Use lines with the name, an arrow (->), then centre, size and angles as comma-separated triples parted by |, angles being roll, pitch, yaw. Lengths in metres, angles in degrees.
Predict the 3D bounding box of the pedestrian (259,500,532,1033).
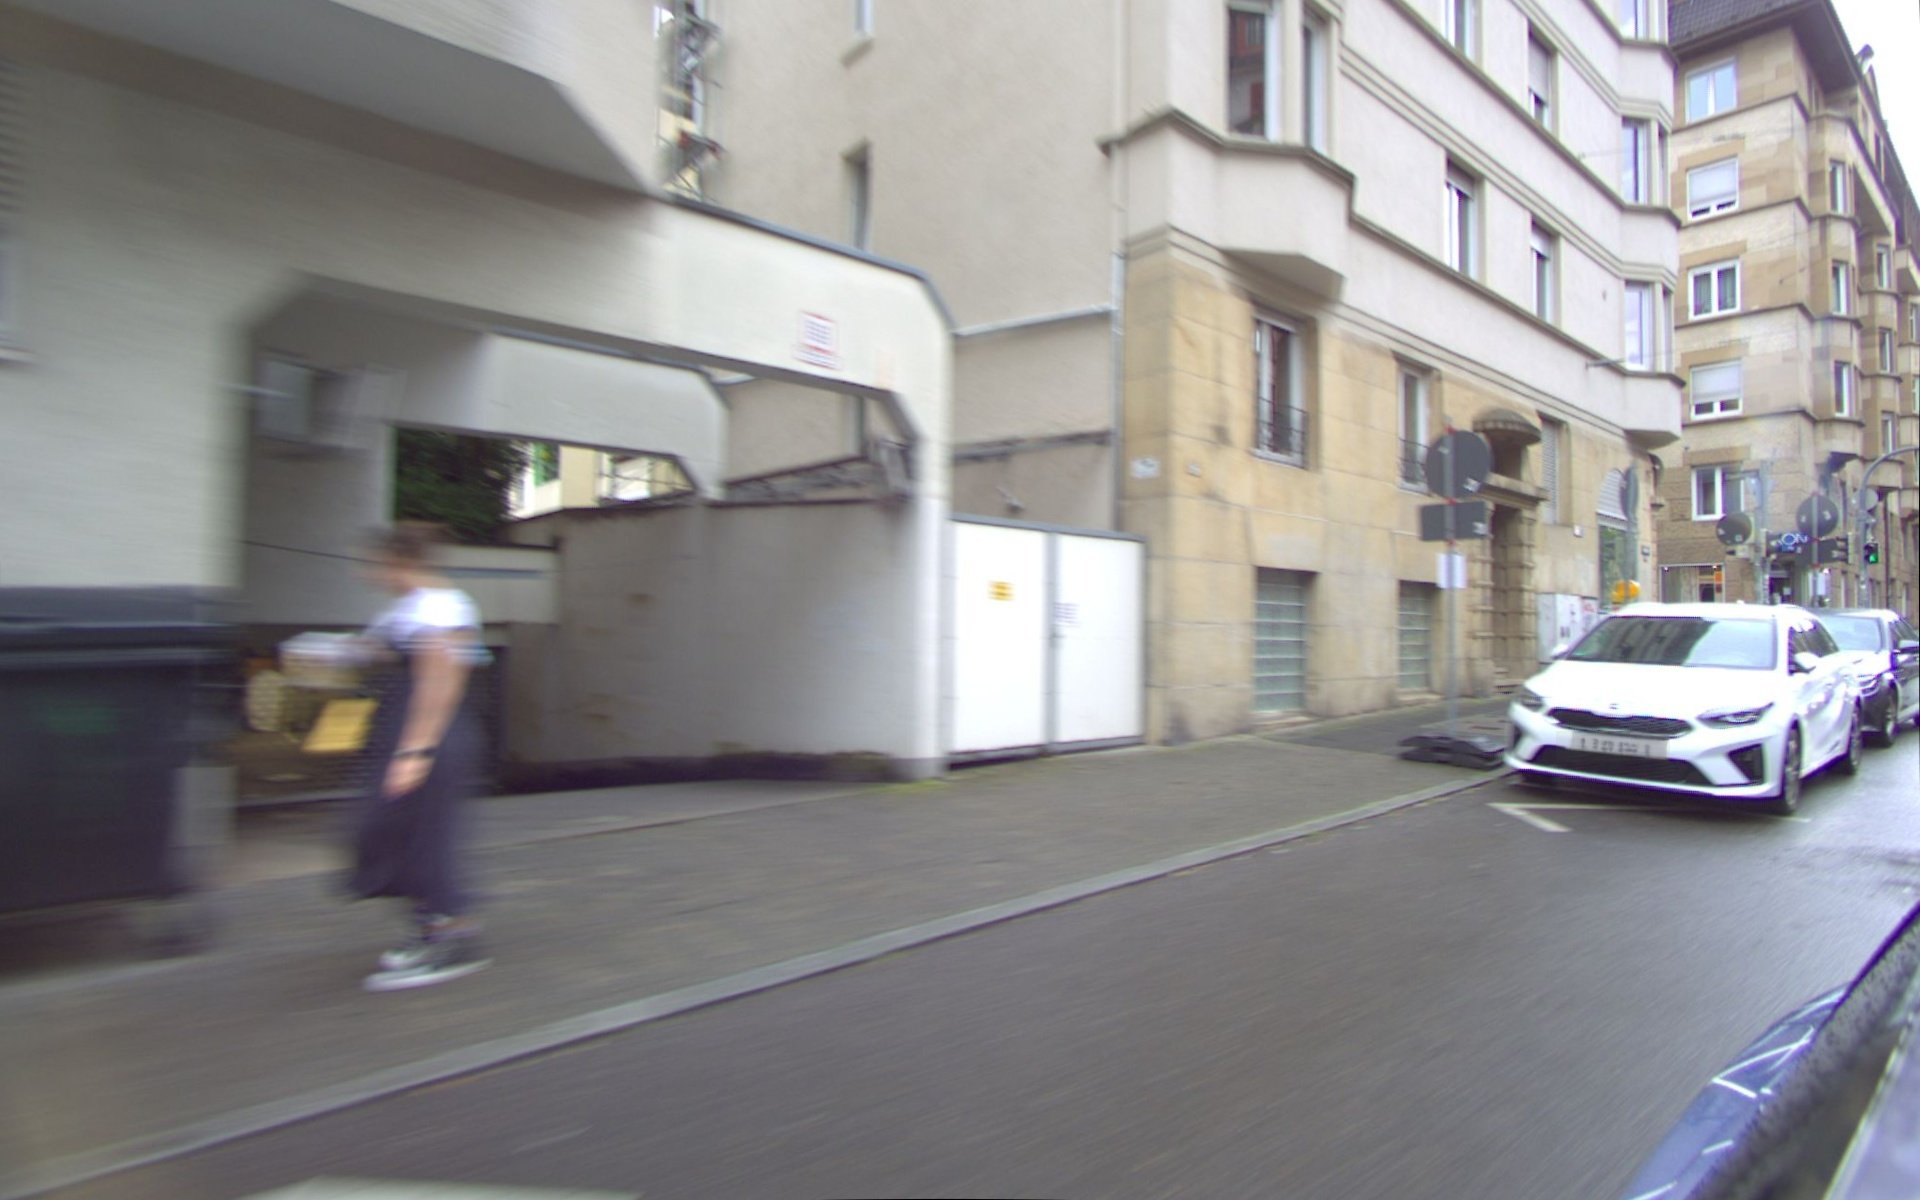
pedestrian -> -2.127, 0.526, 3.796 | 0.741, 1.708, 0.806 | -1, 0, -41

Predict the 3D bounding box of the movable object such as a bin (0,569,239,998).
movable object such as a bin -> -3.610, 0.635, 3.919 | 1.250, 1.486, 0.981 | -1, 0, -41

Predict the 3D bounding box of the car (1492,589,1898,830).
car -> 6.381, 0.671, 8.554 | 4.690, 1.486, 1.715 | -1, 1, -40

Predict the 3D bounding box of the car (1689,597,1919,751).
car -> 10.408, 0.712, 11.957 | 4.730, 1.428, 1.714 | -1, 1, -39
